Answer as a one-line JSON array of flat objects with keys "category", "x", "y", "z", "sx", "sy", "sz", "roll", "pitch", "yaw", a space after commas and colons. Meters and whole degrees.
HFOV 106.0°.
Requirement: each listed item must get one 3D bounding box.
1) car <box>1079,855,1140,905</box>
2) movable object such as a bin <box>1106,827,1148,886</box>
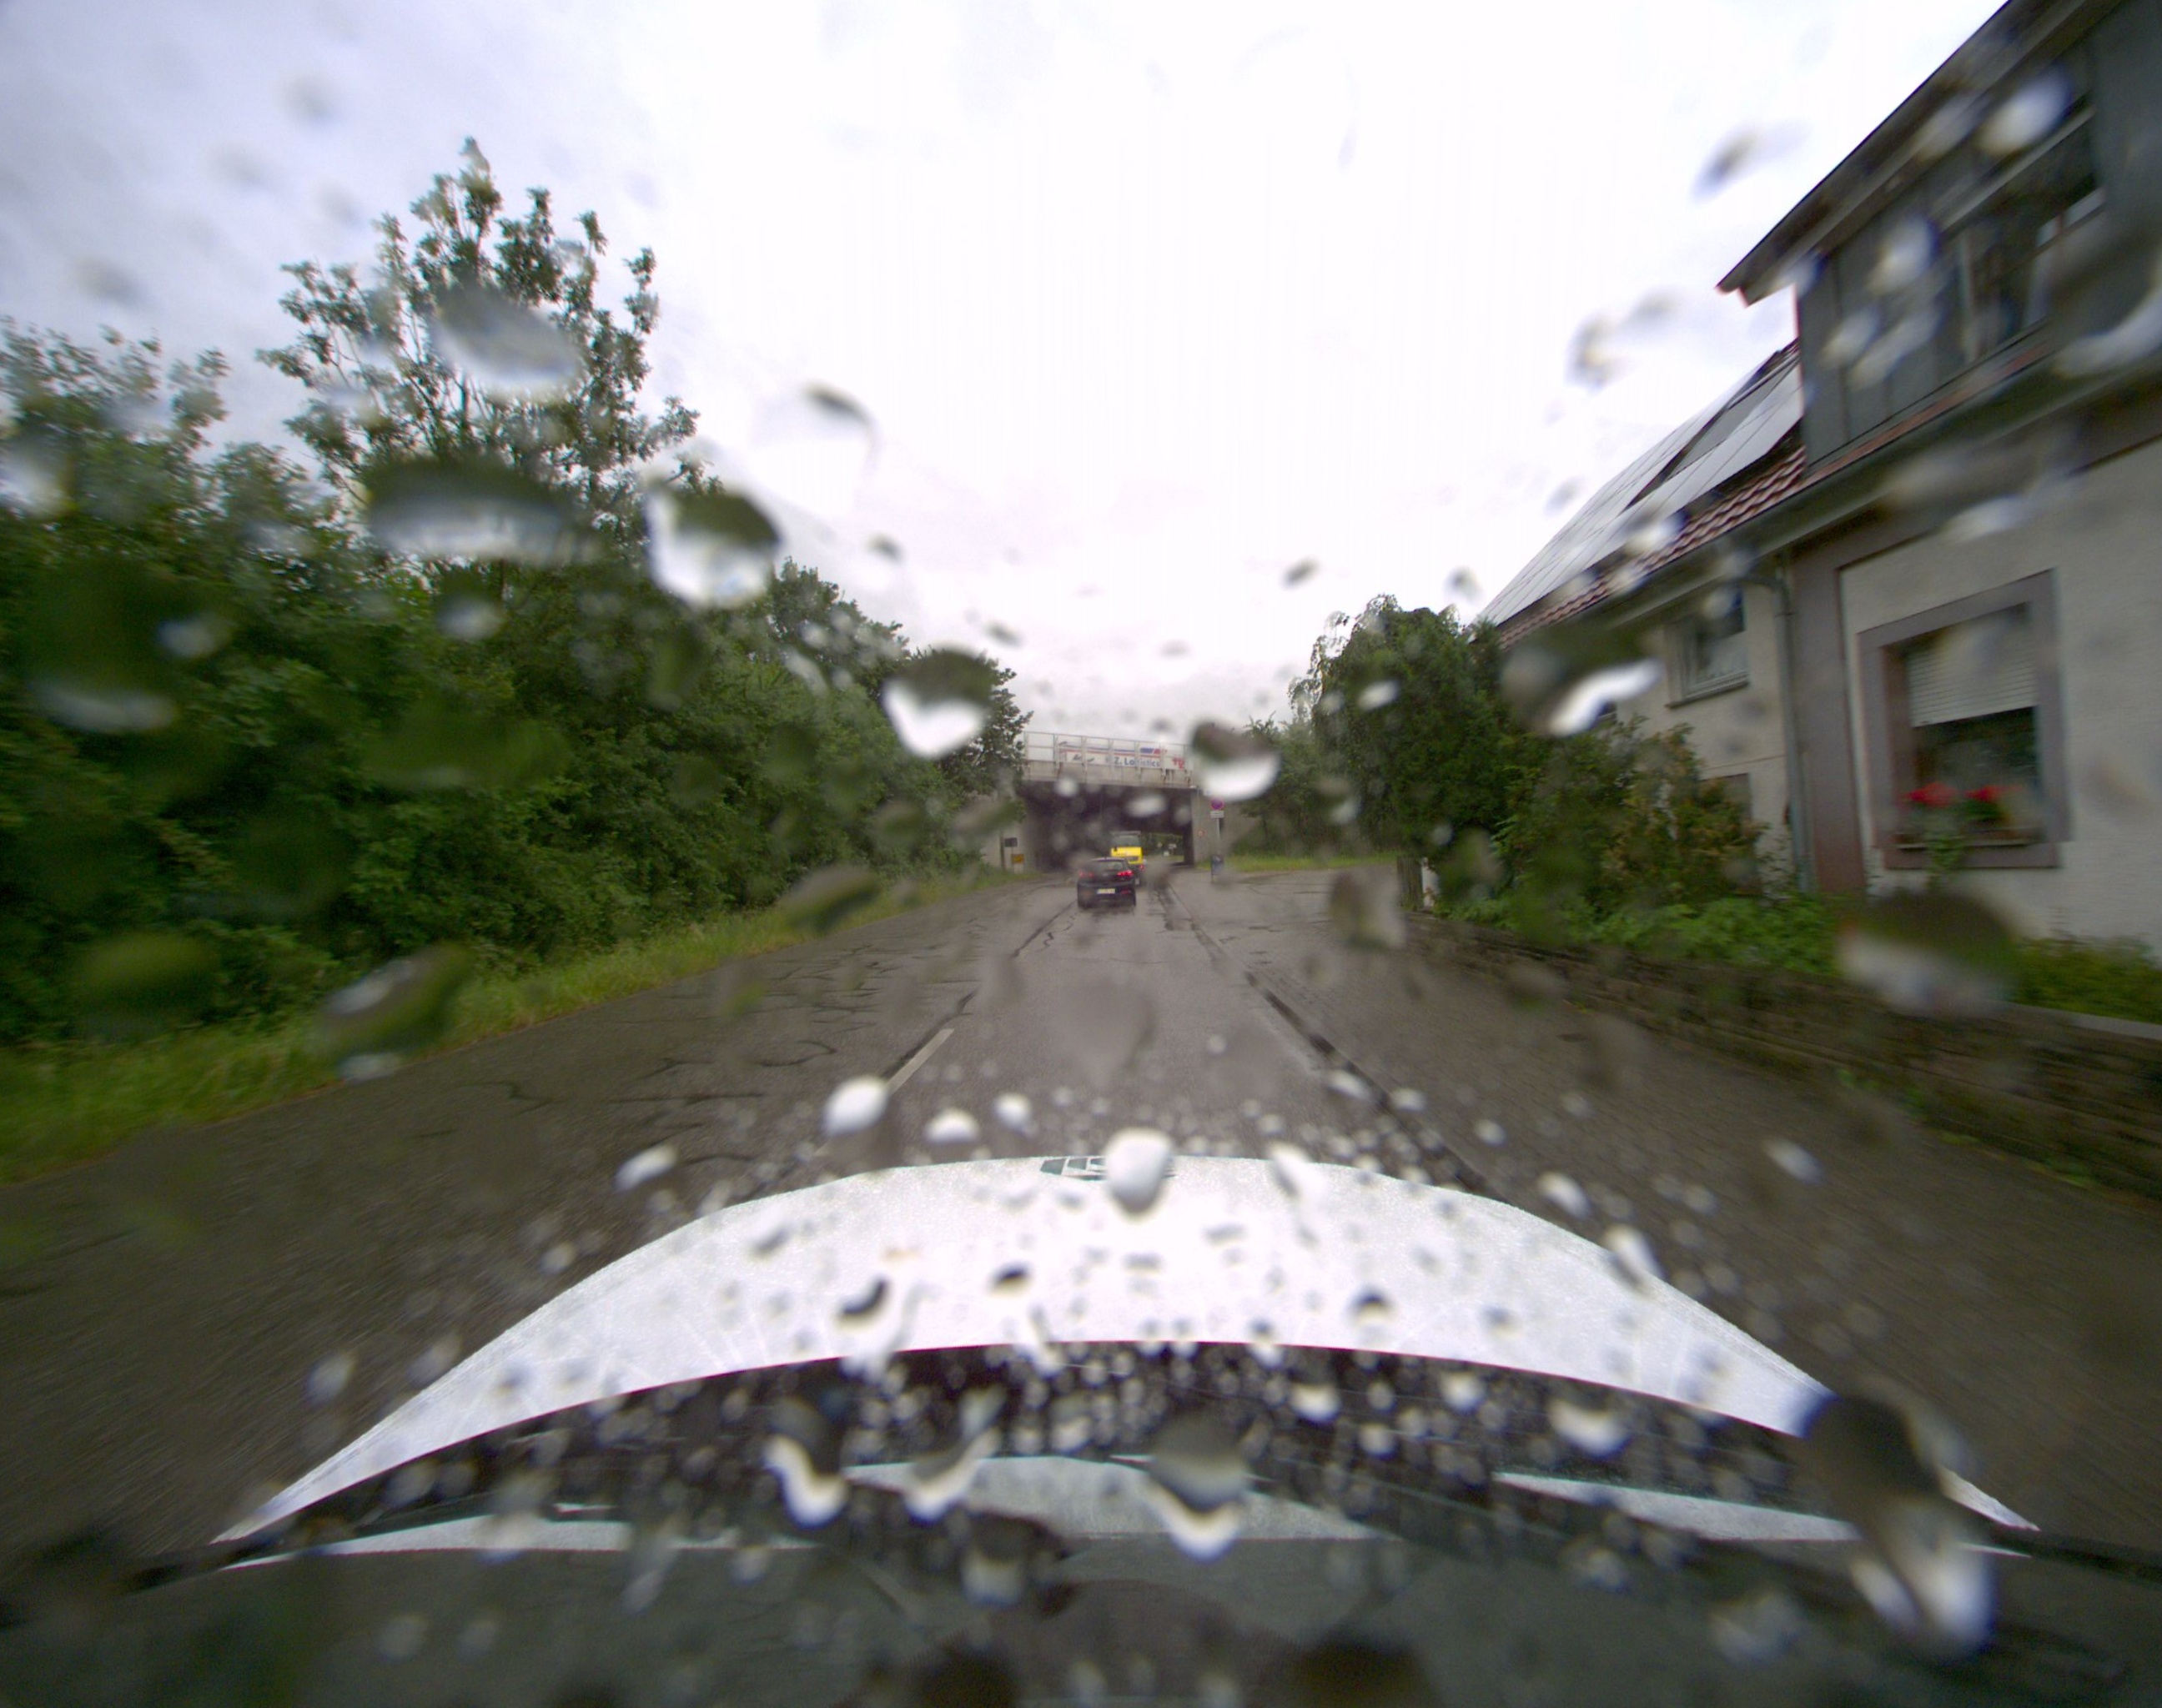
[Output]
[{"category": "car", "x": 0.913, "y": 0.757, "z": 25.221, "sx": 1.702, "sy": 1.377, "sz": 4.002, "roll": -1, "pitch": -1, "yaw": 2}, {"category": "movable object such as a bin", "x": 2.080, "y": 0.125, "z": 37.526, "sx": 1.754, "sy": 2.548, "sz": 4.241, "roll": -1, "pitch": -1, "yaw": 2}]
